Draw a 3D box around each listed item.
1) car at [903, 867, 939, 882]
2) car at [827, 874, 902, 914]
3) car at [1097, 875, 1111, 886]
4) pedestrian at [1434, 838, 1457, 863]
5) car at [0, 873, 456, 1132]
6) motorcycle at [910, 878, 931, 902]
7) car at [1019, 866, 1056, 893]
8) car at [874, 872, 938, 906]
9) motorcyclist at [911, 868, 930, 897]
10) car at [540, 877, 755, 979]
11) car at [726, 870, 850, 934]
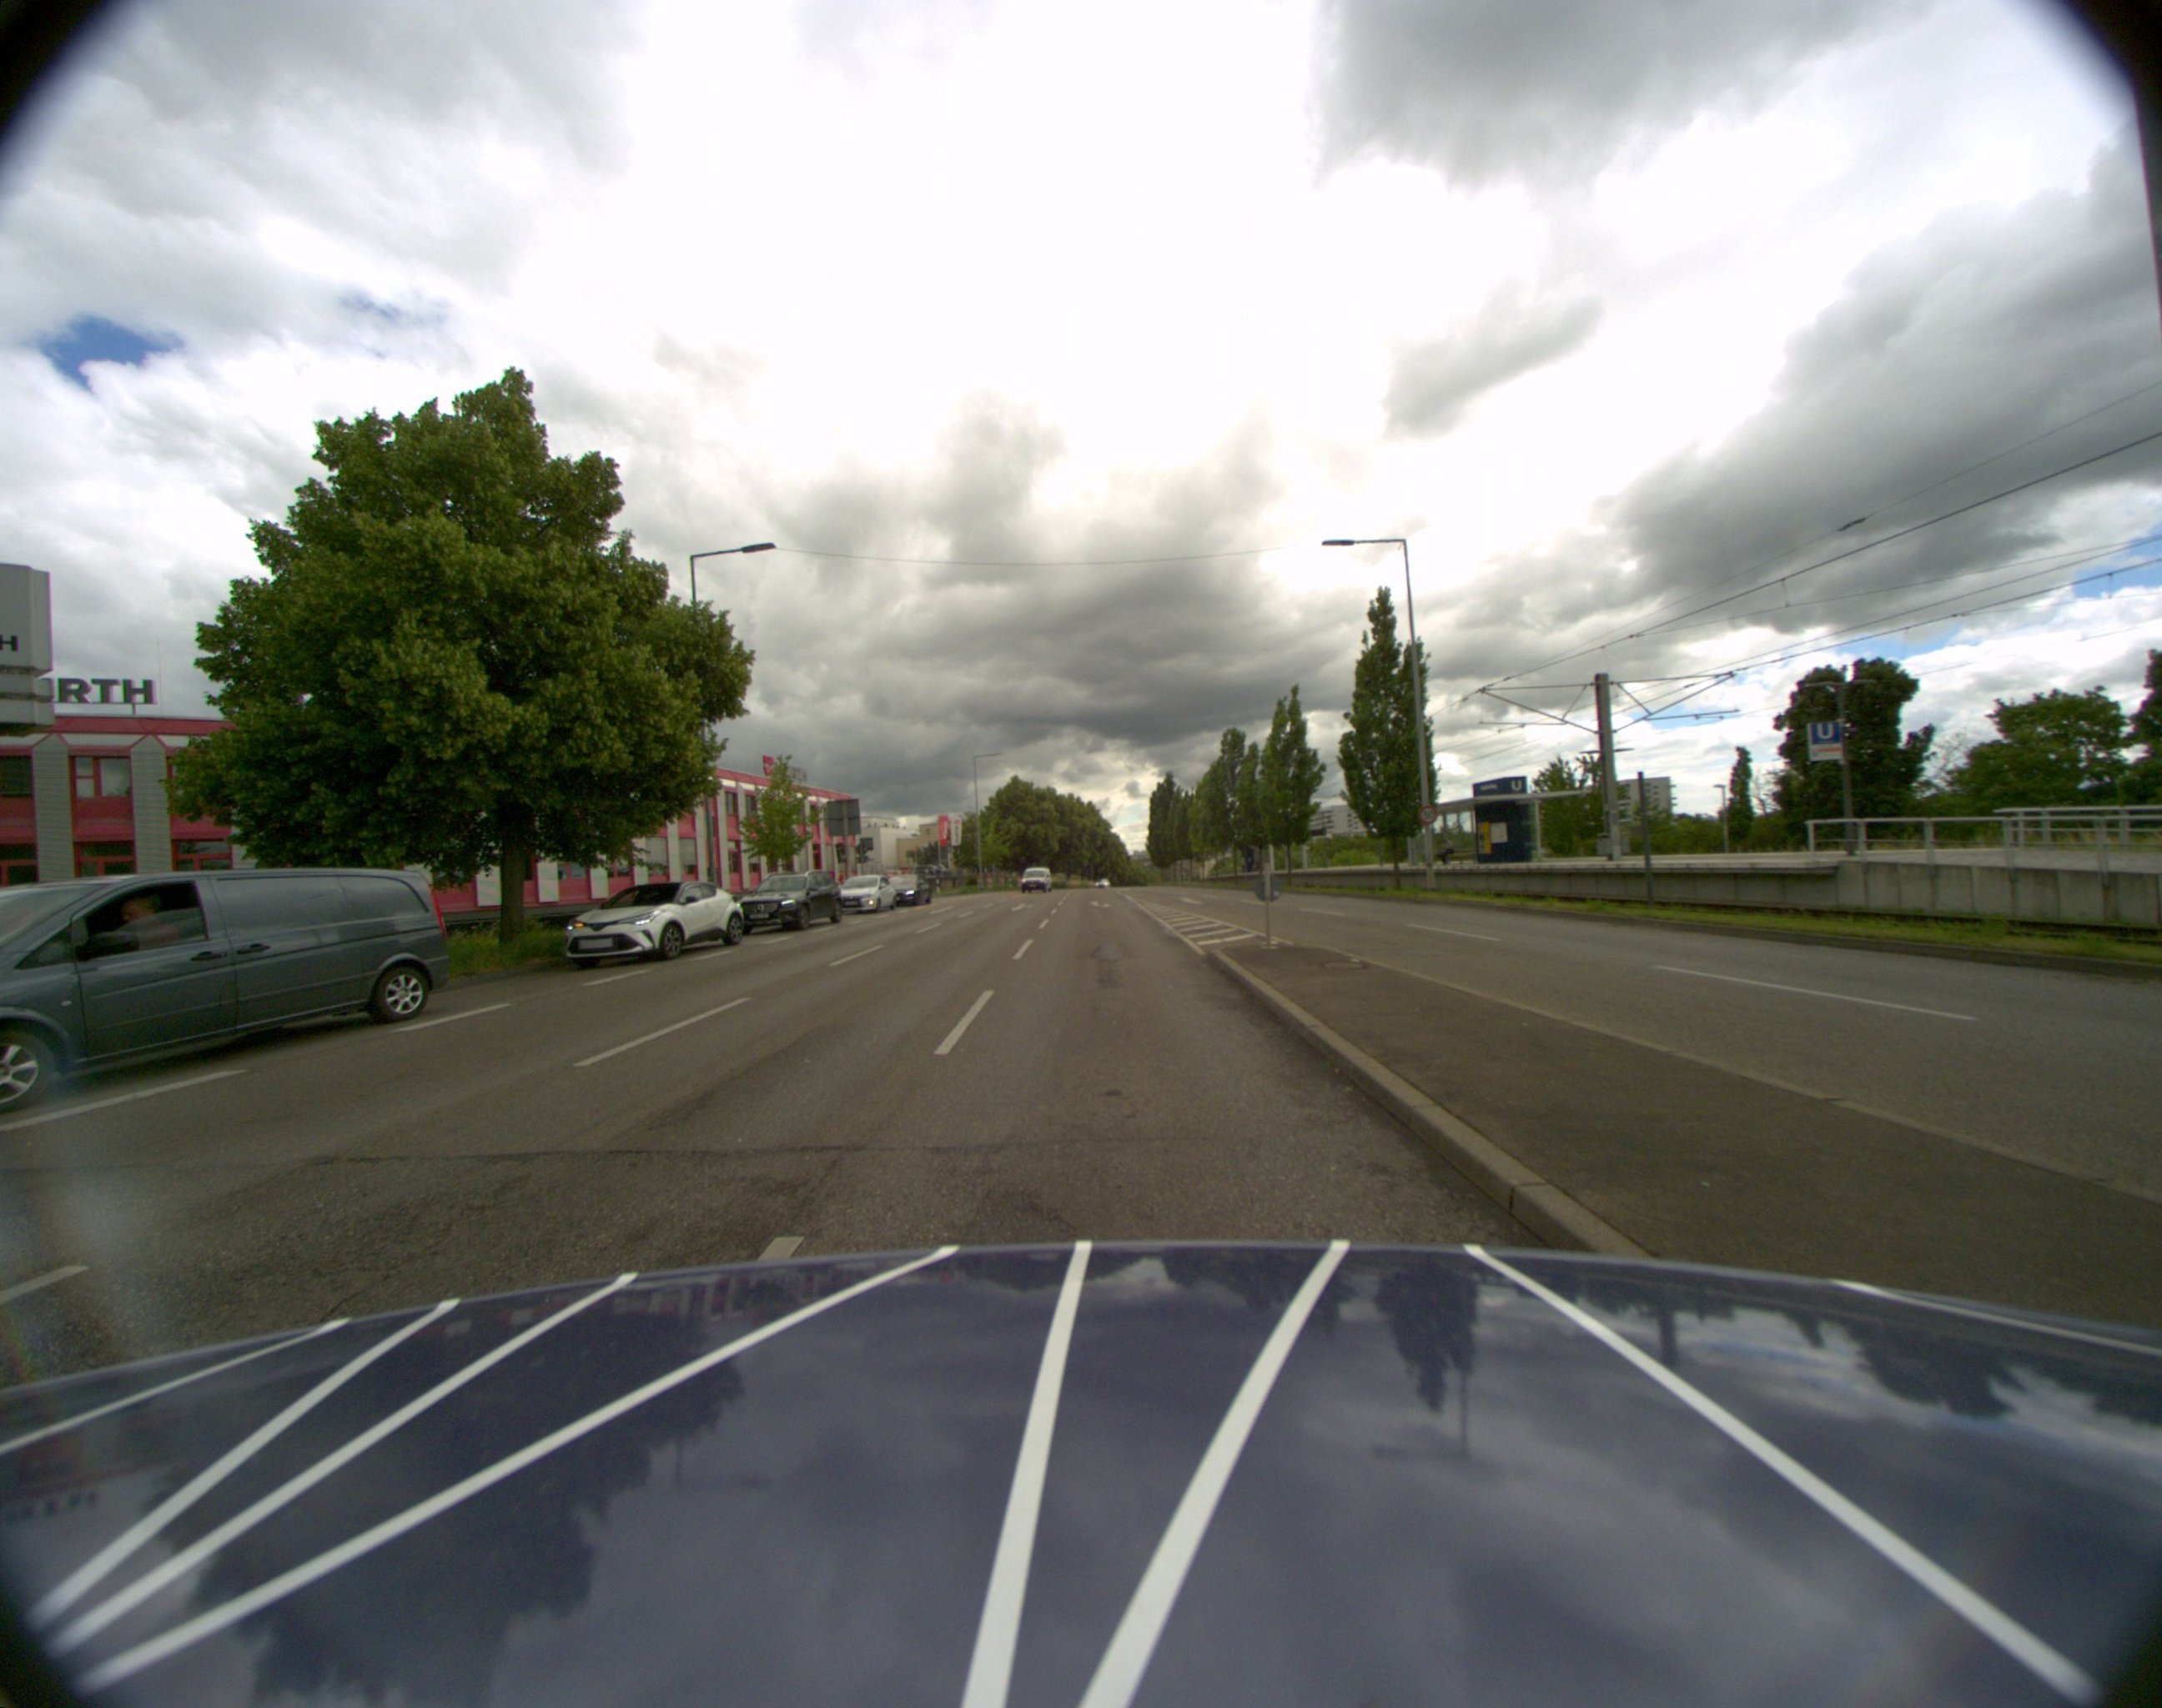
[{"bbox_3d":[-21.226,2.684,101.004,4.248,1.744,1.784,-2,0,2],"label":"car"},{"bbox_3d":[-8.480,1.552,30.105,1.785,1.434,3.836,-1,-2,1],"label":"car"},{"bbox_3d":[3.201,3.699,105.678,1.784,1.353,4.483,-1,-3,4],"label":"car"},{"bbox_3d":[17.613,-0.174,36.733,0.663,1.195,0.782,-2,0,-7],"label":"pedestrian"},{"bbox_3d":[-8.946,1.228,7.161,1.921,1.823,4.722,-5,0,2],"label":"car"},{"bbox_3d":[-8.330,1.859,39.511,0.750,1.140,1.943,-4,-1,-3],"label":"motorcycle"},{"bbox_3d":[-3.108,1.798,55.606,1.999,1.791,4.841,-2,0,5],"label":"car"},{"bbox_3d":[-8.028,1.588,35.206,1.785,1.437,4.530,-1,-2,1],"label":"car"},{"bbox_3d":[-8.361,1.477,39.584,0.750,1.481,0.933,-4,-1,-3],"label":"motorcyclist"},{"bbox_3d":[-8.570,1.378,15.557,1.785,1.526,4.305,-5,0,0],"label":"car"},{"bbox_3d":[-8.381,1.324,22.213,1.785,1.639,4.427,-1,-2,1],"label":"car"}]
